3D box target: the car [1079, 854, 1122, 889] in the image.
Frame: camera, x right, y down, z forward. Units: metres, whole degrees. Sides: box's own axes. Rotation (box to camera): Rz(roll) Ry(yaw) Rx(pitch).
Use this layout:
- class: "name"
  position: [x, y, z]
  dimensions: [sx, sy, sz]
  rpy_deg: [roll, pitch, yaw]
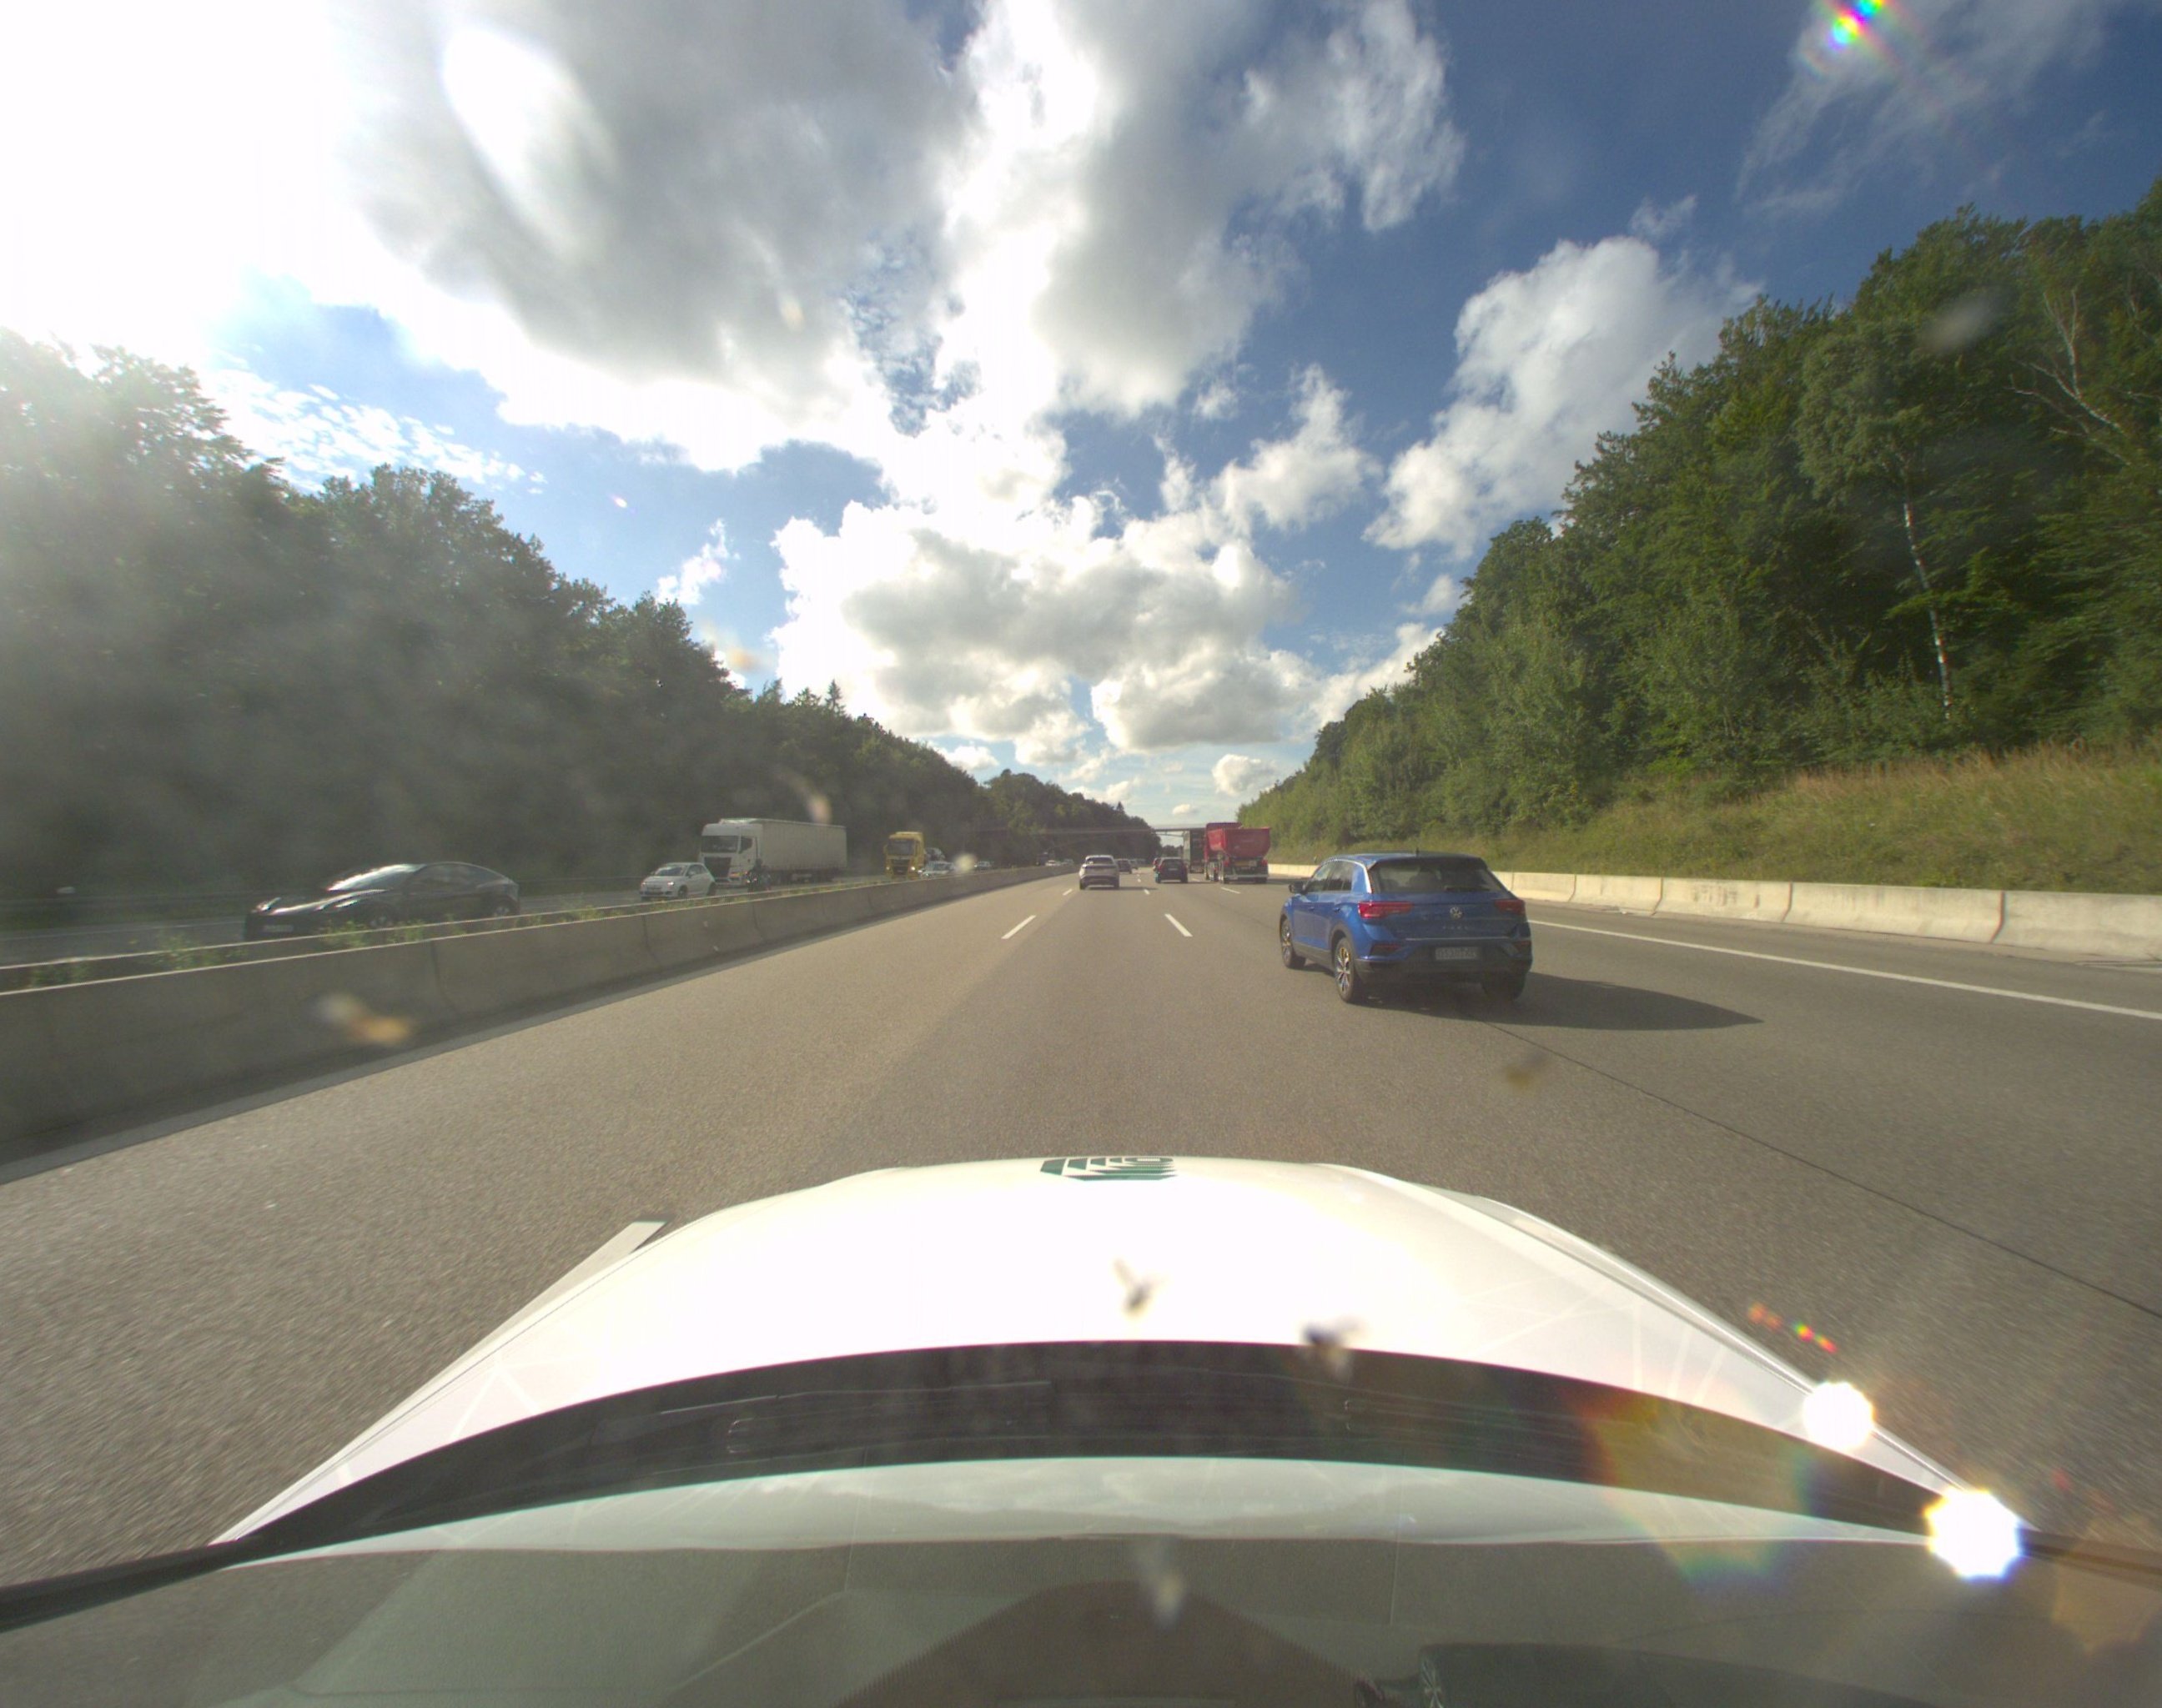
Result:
- class: "car"
  position: [0.965, 0.809, 40.868]
  dimensions: [1.999, 1.616, 5.302]
  rpy_deg: [-1, 0, 1]

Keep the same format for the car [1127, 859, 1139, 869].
- class: "car"
  position: [7.650, 1.415, 119.862]
  dimensions: [1.814, 1.457, 4.004]
  rpy_deg: [-1, 0, 4]

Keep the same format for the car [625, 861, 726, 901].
- class: "car"
  position: [-16.351, 1.058, 33.079]
  dimensions: [1.840, 1.498, 4.132]
  rpy_deg: [0, 0, 3]

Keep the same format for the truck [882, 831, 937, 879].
- class: "truck"
  position: [-14.267, 0.109, 68.376]
  dimensions: [2.765, 3.810, 7.139]
  rpy_deg: [-1, 0, 3]

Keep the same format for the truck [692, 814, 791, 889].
- class: "truck"
  position: [-19.891, -0.128, 48.210]
  dimensions: [2.695, 4.068, 6.604]
  rpy_deg: [-1, 0, 3]

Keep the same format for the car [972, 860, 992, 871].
- class: "car"
  position: [-13.729, 1.562, 113.212]
  dimensions: [1.804, 1.390, 4.943]
  rpy_deg: [-1, 0, 5]

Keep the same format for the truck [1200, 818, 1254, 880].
- class: "truck"
  position: [9.315, -0.289, 52.557]
  dimensions: [2.699, 3.718, 5.822]
  rpy_deg: [-1, 0, 3]

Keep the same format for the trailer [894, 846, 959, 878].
- class: "trailer"
  position: [-13.938, 0.678, 75.046]
  dimensions: [2.765, 2.720, 13.322]
  rpy_deg: [-1, 0, 3]

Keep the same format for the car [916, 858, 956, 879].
- class: "car"
  position: [-10.985, 1.045, 62.205]
  dimensions: [1.986, 1.486, 4.985]
  rpy_deg: [-1, 0, 2]

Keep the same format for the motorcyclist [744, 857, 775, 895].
- class: "motorcyclist"
  position: [-12.616, 0.846, 32.022]
  dimensions: [0.751, 1.476, 1.076]
  rpy_deg: [-1, 0, 1]

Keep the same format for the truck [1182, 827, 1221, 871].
- class: "truck"
  position: [11.568, -0.474, 79.110]
  dimensions: [3.103, 3.935, 10.426]
  rpy_deg: [-1, 0, 5]

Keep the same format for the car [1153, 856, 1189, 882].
- class: "car"
  position: [5.290, 0.867, 48.174]
  dimensions: [1.815, 1.457, 4.002]
  rpy_deg: [-1, 0, 2]

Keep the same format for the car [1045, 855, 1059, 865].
- class: "car"
  position: [-4.767, 0.956, 132.991]
  dimensions: [1.807, 1.535, 4.320]
  rpy_deg: [-1, 0, 4]

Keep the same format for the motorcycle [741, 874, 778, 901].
- class: "motorcycle"
  position: [-12.603, 1.307, 32.013]
  dimensions: [0.480, 0.956, 2.253]
  rpy_deg: [-1, 0, 3]

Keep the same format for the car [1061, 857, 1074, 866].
- class: "car"
  position: [-2.438, 1.390, 149.836]
  dimensions: [1.914, 1.540, 4.707]
  rpy_deg: [-1, 0, 4]

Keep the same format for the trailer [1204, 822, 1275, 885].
- class: "trailer"
  position: [9.067, -0.018, 47.644]
  dimensions: [2.699, 3.231, 9.740]
  rpy_deg: [-1, 0, 3]

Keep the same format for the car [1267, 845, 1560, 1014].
- class: "car"
  position: [3.551, 0.696, 9.682]
  dimensions: [1.766, 1.530, 4.459]
  rpy_deg: [-1, 0, 2]

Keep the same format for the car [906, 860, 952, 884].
- class: "car"
  position: [-8.851, 1.019, 47.631]
  dimensions: [1.677, 1.307, 4.201]
  rpy_deg: [-1, 0, 3]

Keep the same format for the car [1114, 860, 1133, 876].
- class: "car"
  position: [4.140, 1.335, 79.832]
  dimensions: [1.815, 1.546, 4.003]
  rpy_deg: [0, 0, 3]

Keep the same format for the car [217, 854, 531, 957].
- class: "car"
  position: [-13.313, 0.860, 15.861]
  dimensions: [1.987, 1.687, 4.679]
  rpy_deg: [-1, 0, 0]

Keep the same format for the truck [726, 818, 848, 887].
- class: "truck"
  position: [-19.418, -0.086, 55.069]
  dimensions: [2.695, 4.068, 13.101]
  rpy_deg: [-1, 0, 4]

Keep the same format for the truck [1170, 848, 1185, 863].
- class: "truck"
  position: [19.378, 0.331, 162.765]
  dimensions: [2.829, 2.925, 8.403]
  rpy_deg: [-1, 0, 7]

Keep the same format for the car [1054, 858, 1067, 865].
- class: "car"
  position: [-4.376, 1.630, 175.306]
  dimensions: [1.912, 1.540, 4.712]
  rpy_deg: [-1, 0, 7]

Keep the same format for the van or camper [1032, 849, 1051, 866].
- class: "van or camper"
  position: [-7.259, 0.596, 150.447]
  dimensions: [2.547, 3.125, 7.341]
  rpy_deg: [-1, 0, 4]

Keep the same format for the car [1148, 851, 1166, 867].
- class: "car"
  position: [9.086, 0.616, 97.691]
  dimensions: [1.886, 1.857, 4.103]
  rpy_deg: [-1, 0, 2]
